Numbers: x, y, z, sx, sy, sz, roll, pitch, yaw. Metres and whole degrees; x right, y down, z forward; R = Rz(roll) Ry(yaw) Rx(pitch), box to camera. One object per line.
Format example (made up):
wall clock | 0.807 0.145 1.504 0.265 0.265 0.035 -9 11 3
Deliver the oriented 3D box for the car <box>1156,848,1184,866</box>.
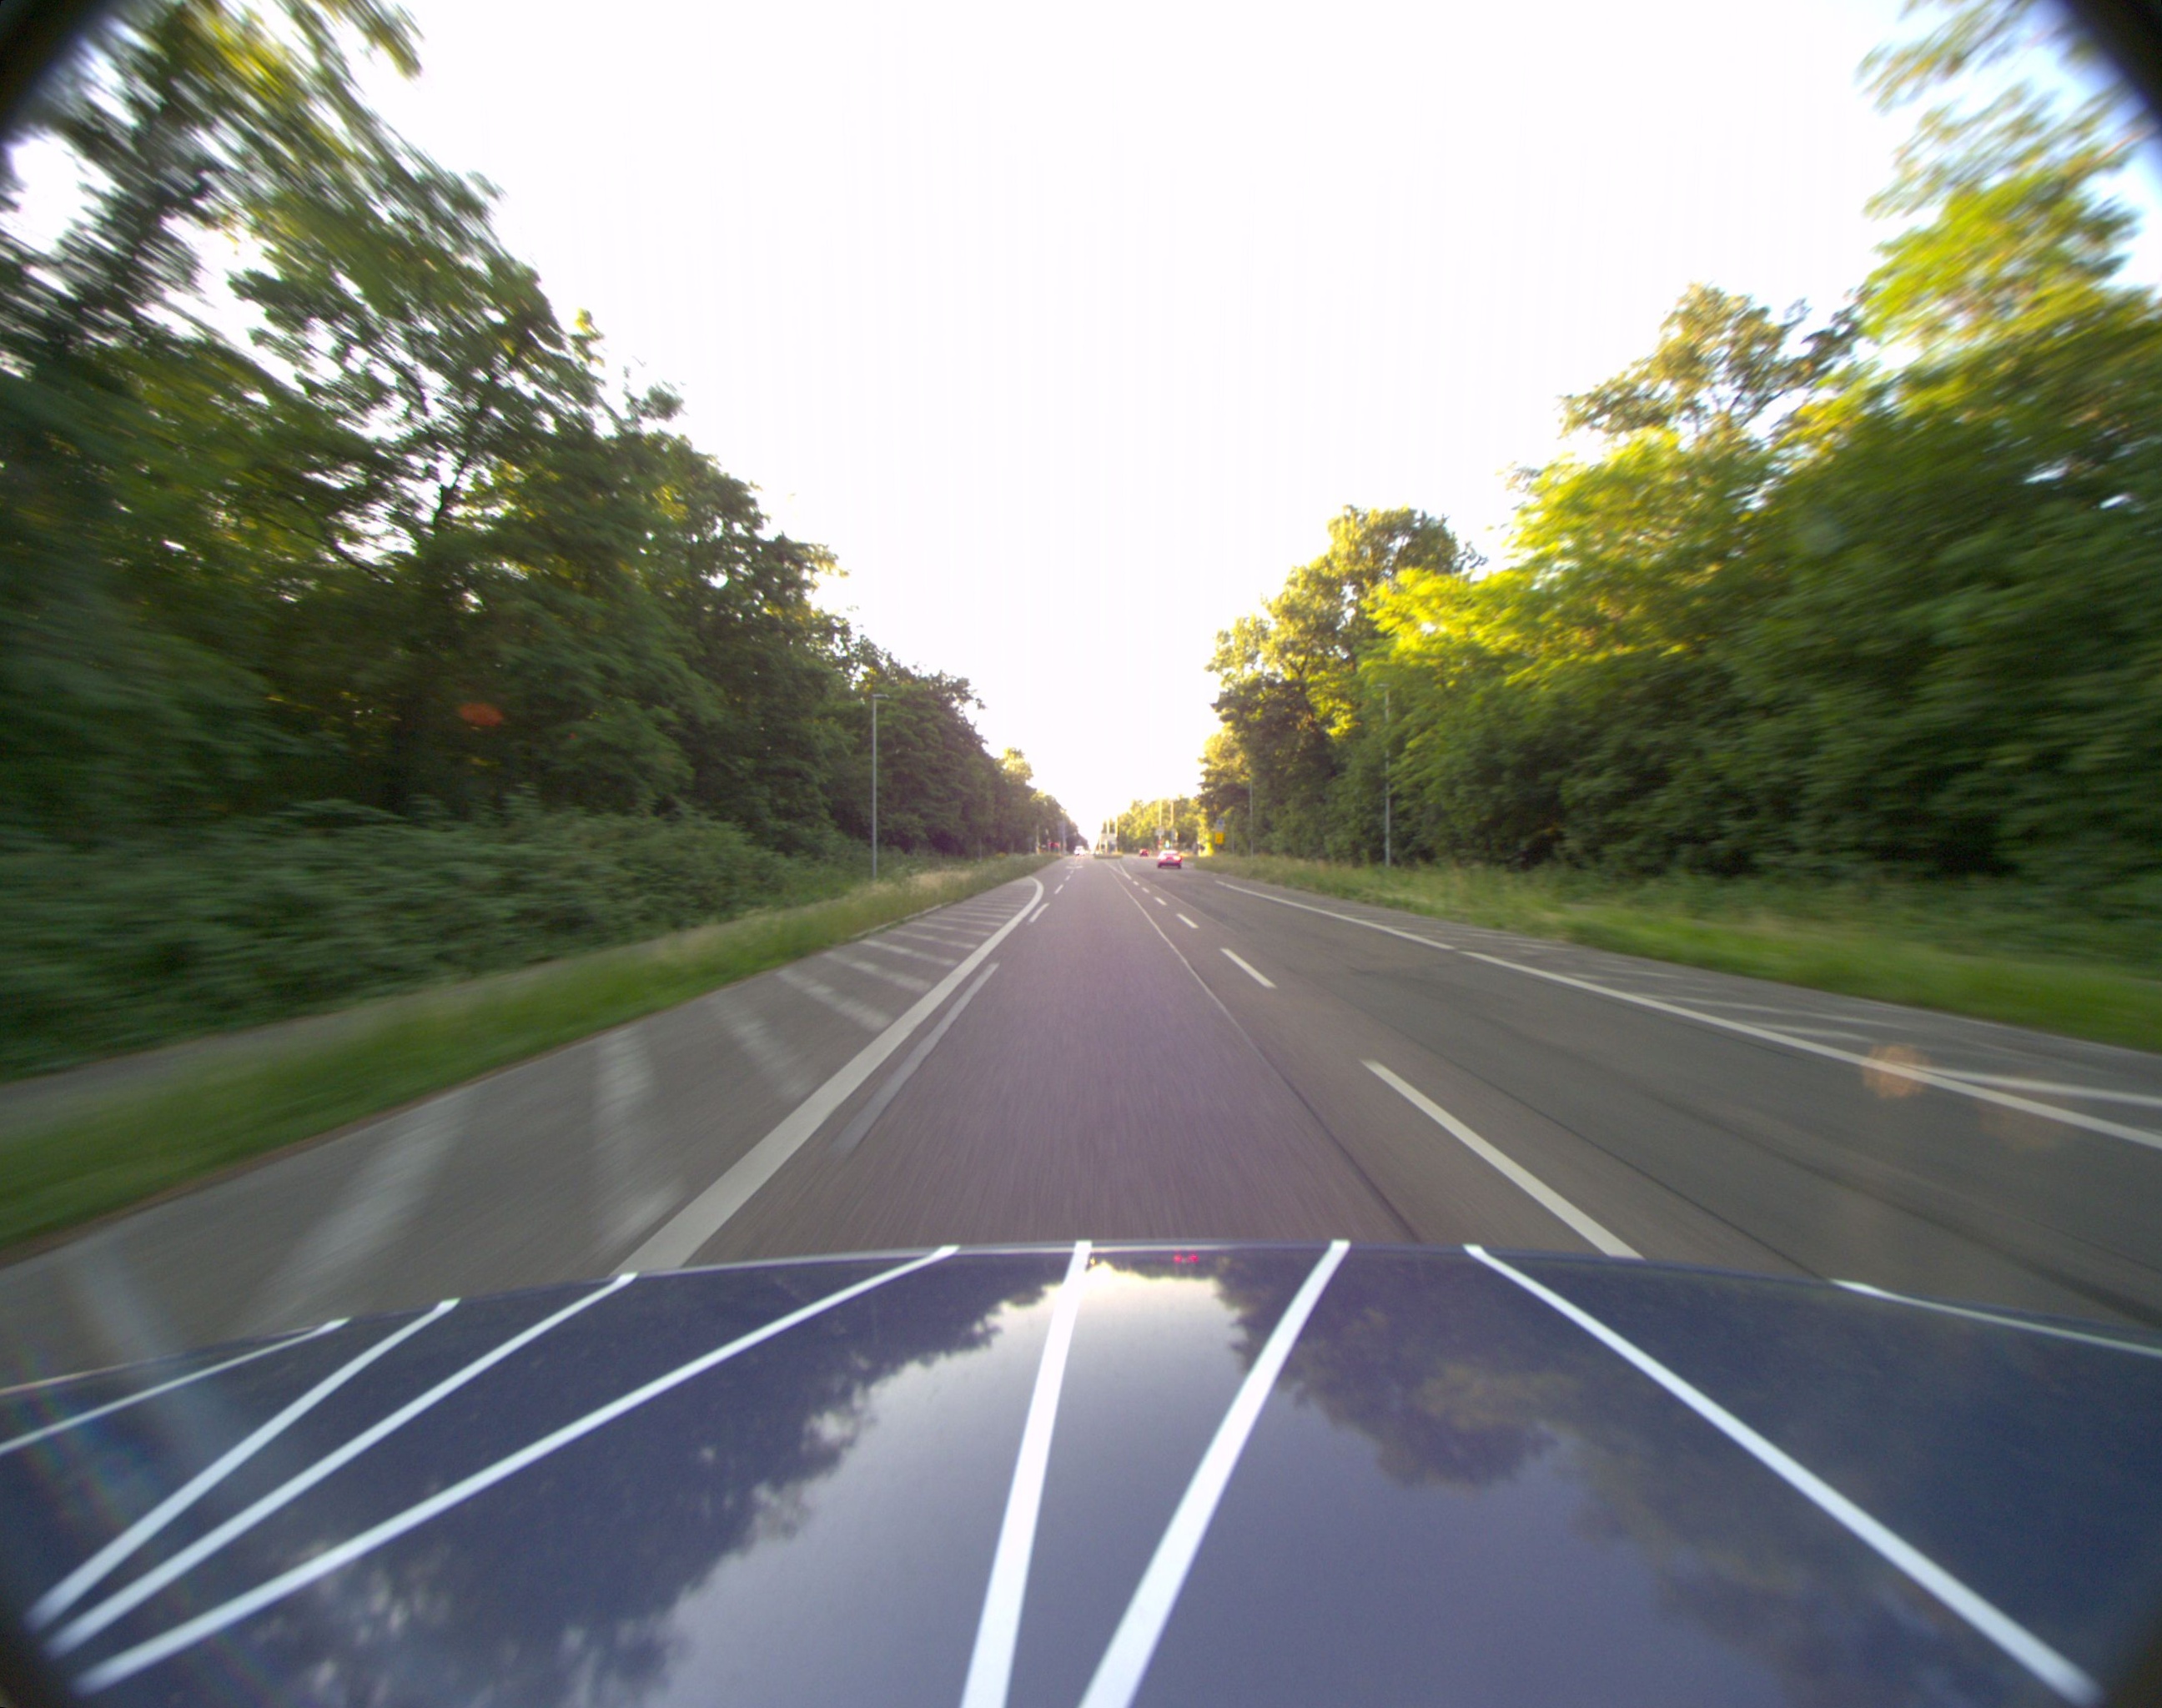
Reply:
car | 7.409 0.292 63.535 2.068 1.427 4.467 1 -1 3

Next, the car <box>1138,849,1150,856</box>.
car | 13.515 -0.337 161.676 1.822 1.525 4.460 2 1 14

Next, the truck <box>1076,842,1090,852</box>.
truck | 0.578 -1.864 201.049 2.601 2.543 6.026 -1 2 13
